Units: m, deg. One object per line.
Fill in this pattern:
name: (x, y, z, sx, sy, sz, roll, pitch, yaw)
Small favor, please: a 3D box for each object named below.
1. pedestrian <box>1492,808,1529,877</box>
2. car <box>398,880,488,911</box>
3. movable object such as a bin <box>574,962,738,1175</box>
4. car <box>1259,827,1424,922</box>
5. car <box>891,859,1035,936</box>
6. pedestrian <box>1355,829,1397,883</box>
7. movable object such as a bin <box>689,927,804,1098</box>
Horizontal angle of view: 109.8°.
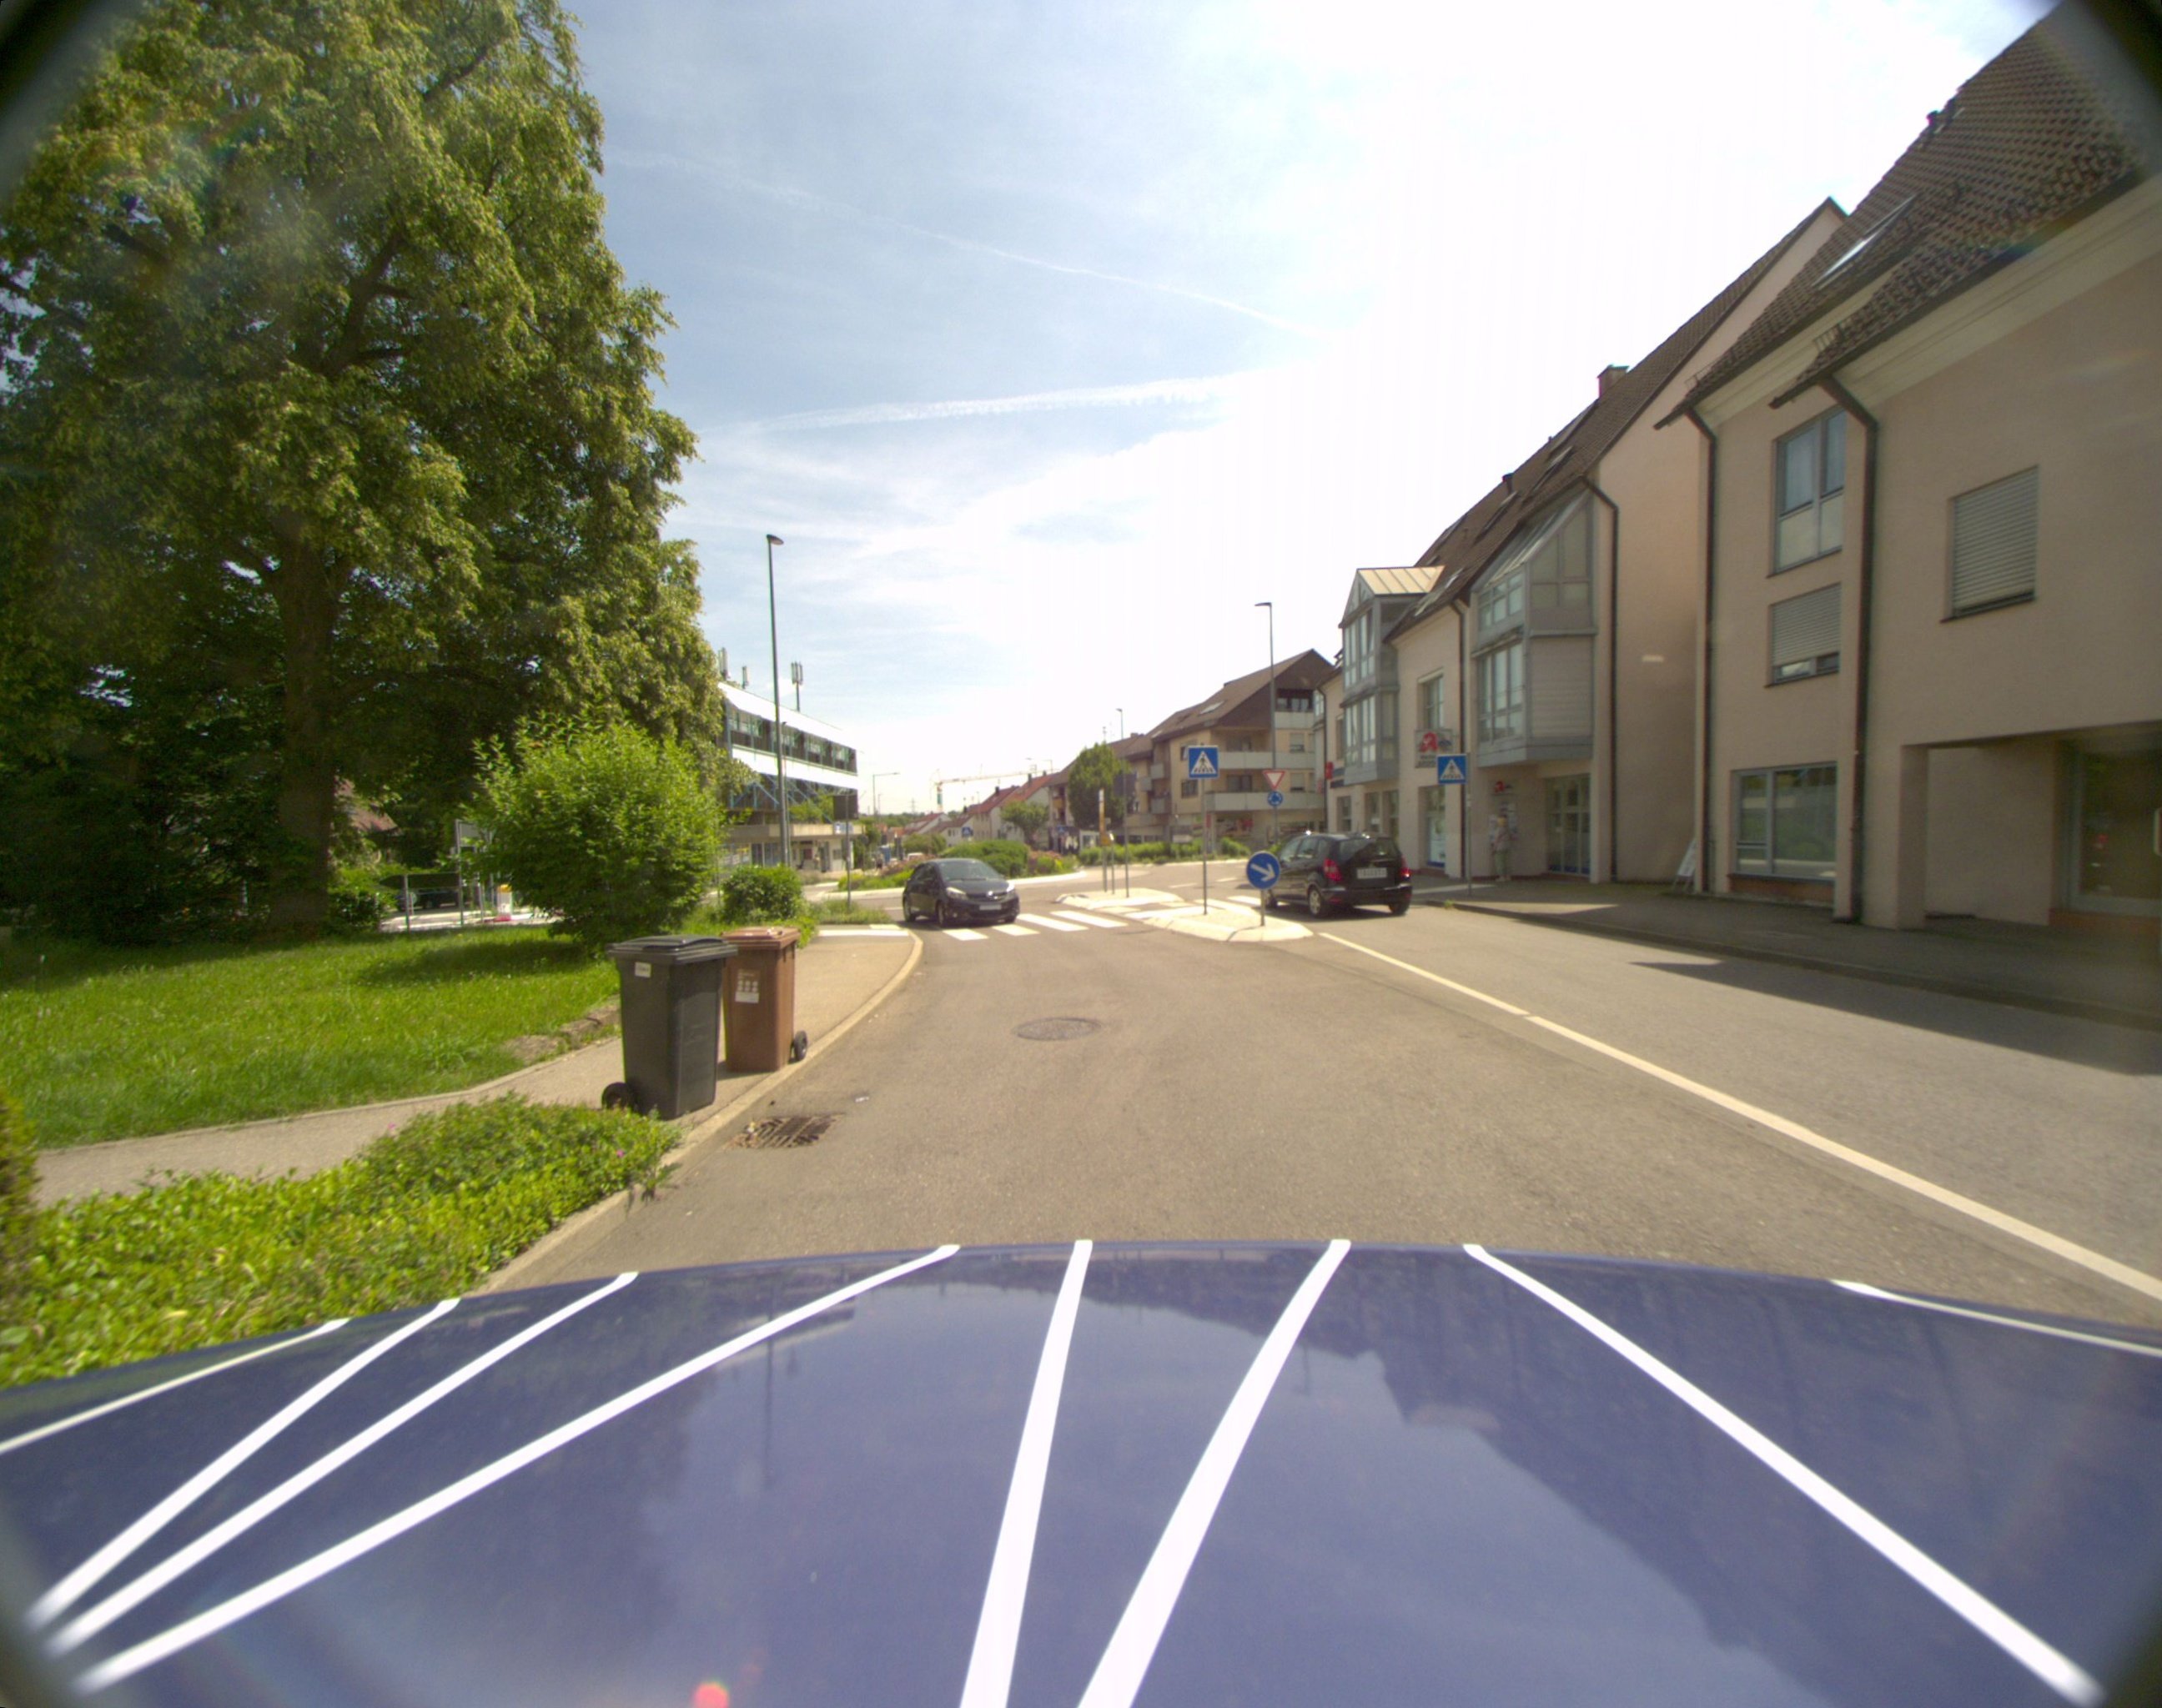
pedestrian: (11.018, -0.292, 19.523, 0.576, 1.699, 0.579, -4, 2, 6)
car: (-40.697, 2.607, 48.622, 1.862, 1.429, 4.226, -4, 3, 4)
movable object such as a bin: (-2.281, 1.116, 4.109, 0.525, 0.988, 0.502, -2, 1, 18)
car: (5.013, 0.320, 15.235, 1.756, 1.575, 3.943, -3, 1, -3)
car: (-2.853, 0.906, 17.484, 1.729, 1.448, 4.420, -3, 0, -30)
pedestrian: (8.434, 0.037, 21.746, 0.801, 1.470, 0.957, -3, 2, 3)
movable object such as a bin: (-2.177, 1.012, 4.991, 0.501, 0.988, 0.503, -3, 1, -4)
